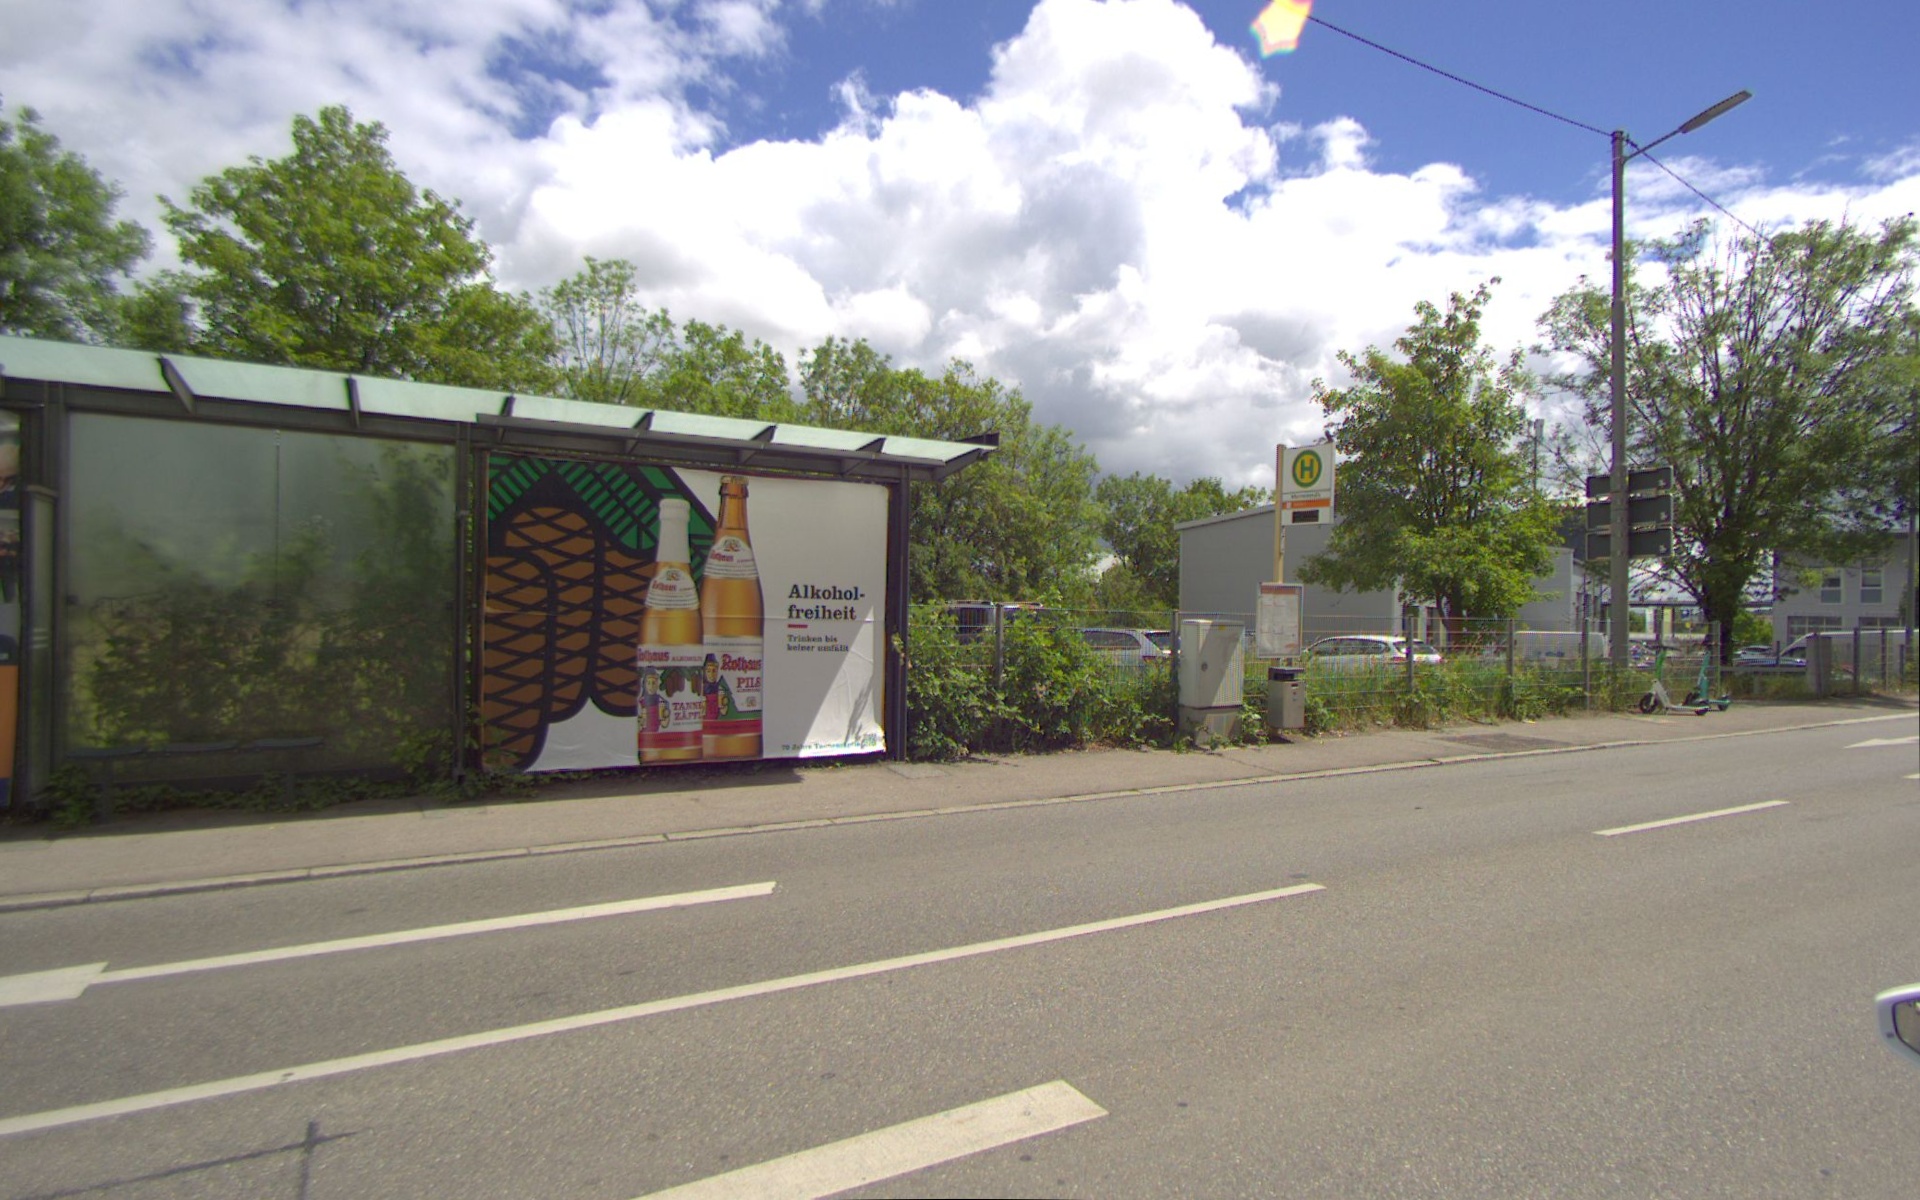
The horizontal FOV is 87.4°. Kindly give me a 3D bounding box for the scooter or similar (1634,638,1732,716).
[{"bbox_3d":[12.362,1.308,17.181,1.446,1.279,0.535,1,1,-14],"label":"scooter or similar"}]

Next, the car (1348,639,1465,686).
[{"bbox_3d":[18.084,2.507,40.643,4.857,1.751,1.828,2,-2,-29],"label":"car"}]

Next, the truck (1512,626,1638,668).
[{"bbox_3d":[37.047,2.831,60.602,6.217,2.258,2.691,0,-3,39],"label":"truck"}]

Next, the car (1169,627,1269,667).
[{"bbox_3d":[11.909,2.134,46.333,4.112,1.751,1.834,0,-2,41],"label":"car"}]

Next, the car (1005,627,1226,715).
[{"bbox_3d":[2.999,1.346,20.129,1.894,1.506,4.243,2,-2,-38],"label":"car"}]

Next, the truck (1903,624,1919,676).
[{"bbox_3d":[42.662,2.140,40.912,2.451,2.175,5.826,4,-3,-33],"label":"truck"}]

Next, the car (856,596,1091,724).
[{"bbox_3d":[0.126,1.009,18.279,2.122,2.040,4.244,2,-2,-37],"label":"car"}]

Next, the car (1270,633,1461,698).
[{"bbox_3d":[9.845,1.558,24.735,1.841,1.399,4.262,2,-2,-26],"label":"car"}]

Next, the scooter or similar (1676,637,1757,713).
[{"bbox_3d":[13.580,1.332,18.032,1.452,1.283,0.533,1,1,-26],"label":"scooter or similar"}]

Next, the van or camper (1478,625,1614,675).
[{"bbox_3d":[30.583,2.542,52.558,5.814,2.386,2.491,0,-1,41],"label":"van or camper"}]

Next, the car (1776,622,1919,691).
[{"bbox_3d":[29.526,1.782,32.691,2.175,2.040,4.136,1,-1,-33],"label":"car"}]
